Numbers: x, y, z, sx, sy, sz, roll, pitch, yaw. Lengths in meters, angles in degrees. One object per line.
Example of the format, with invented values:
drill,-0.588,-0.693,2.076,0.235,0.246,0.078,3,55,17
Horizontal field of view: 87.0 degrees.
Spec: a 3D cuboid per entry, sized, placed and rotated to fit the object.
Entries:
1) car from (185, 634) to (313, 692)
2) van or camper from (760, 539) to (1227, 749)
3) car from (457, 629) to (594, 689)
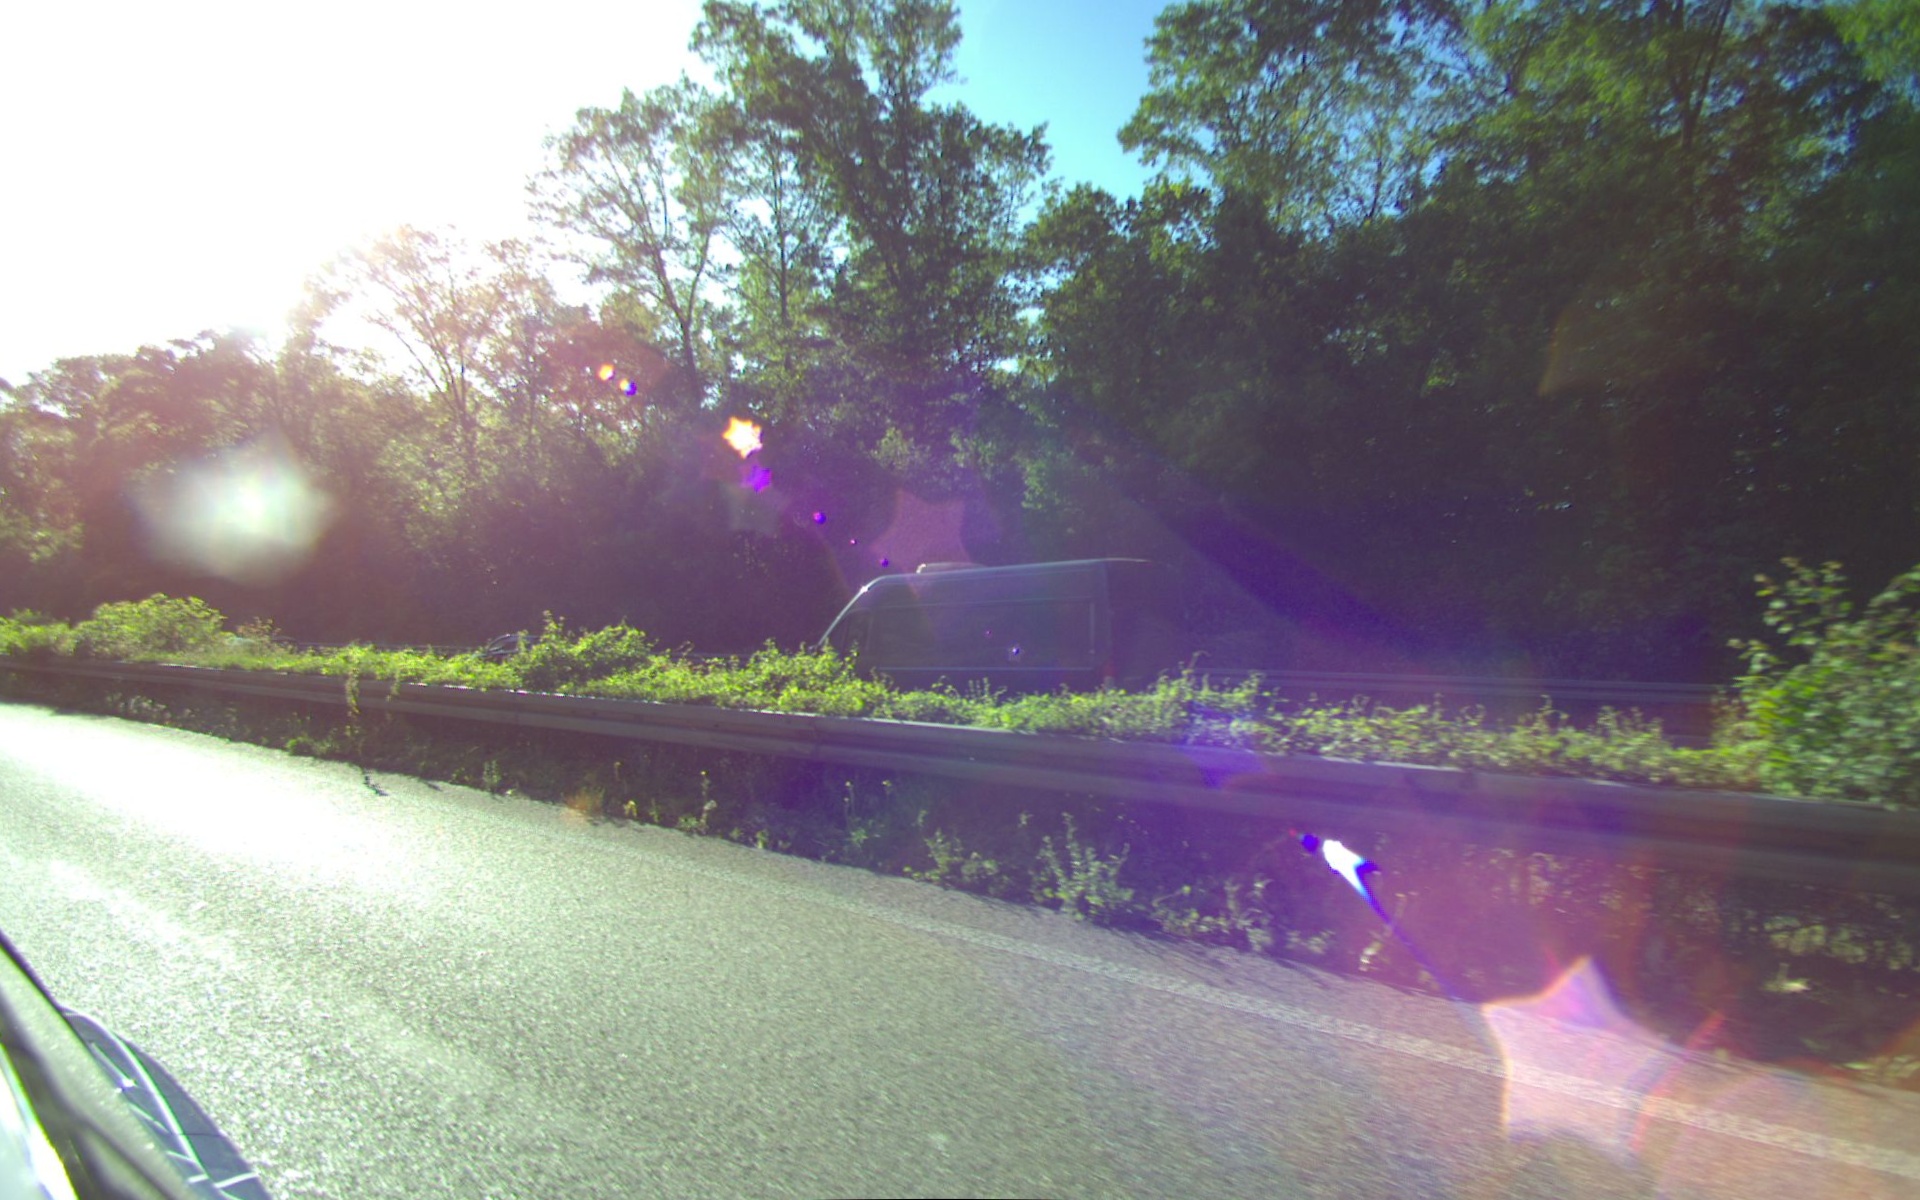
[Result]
car,-18.866,1.616,26.801,3.993,1.365,1.639,-1,0,37
van or camper,0.193,0.498,12.366,5.573,2.029,2.122,-1,-2,39
car,-12.428,1.628,28.872,3.993,1.525,1.863,-1,0,37
